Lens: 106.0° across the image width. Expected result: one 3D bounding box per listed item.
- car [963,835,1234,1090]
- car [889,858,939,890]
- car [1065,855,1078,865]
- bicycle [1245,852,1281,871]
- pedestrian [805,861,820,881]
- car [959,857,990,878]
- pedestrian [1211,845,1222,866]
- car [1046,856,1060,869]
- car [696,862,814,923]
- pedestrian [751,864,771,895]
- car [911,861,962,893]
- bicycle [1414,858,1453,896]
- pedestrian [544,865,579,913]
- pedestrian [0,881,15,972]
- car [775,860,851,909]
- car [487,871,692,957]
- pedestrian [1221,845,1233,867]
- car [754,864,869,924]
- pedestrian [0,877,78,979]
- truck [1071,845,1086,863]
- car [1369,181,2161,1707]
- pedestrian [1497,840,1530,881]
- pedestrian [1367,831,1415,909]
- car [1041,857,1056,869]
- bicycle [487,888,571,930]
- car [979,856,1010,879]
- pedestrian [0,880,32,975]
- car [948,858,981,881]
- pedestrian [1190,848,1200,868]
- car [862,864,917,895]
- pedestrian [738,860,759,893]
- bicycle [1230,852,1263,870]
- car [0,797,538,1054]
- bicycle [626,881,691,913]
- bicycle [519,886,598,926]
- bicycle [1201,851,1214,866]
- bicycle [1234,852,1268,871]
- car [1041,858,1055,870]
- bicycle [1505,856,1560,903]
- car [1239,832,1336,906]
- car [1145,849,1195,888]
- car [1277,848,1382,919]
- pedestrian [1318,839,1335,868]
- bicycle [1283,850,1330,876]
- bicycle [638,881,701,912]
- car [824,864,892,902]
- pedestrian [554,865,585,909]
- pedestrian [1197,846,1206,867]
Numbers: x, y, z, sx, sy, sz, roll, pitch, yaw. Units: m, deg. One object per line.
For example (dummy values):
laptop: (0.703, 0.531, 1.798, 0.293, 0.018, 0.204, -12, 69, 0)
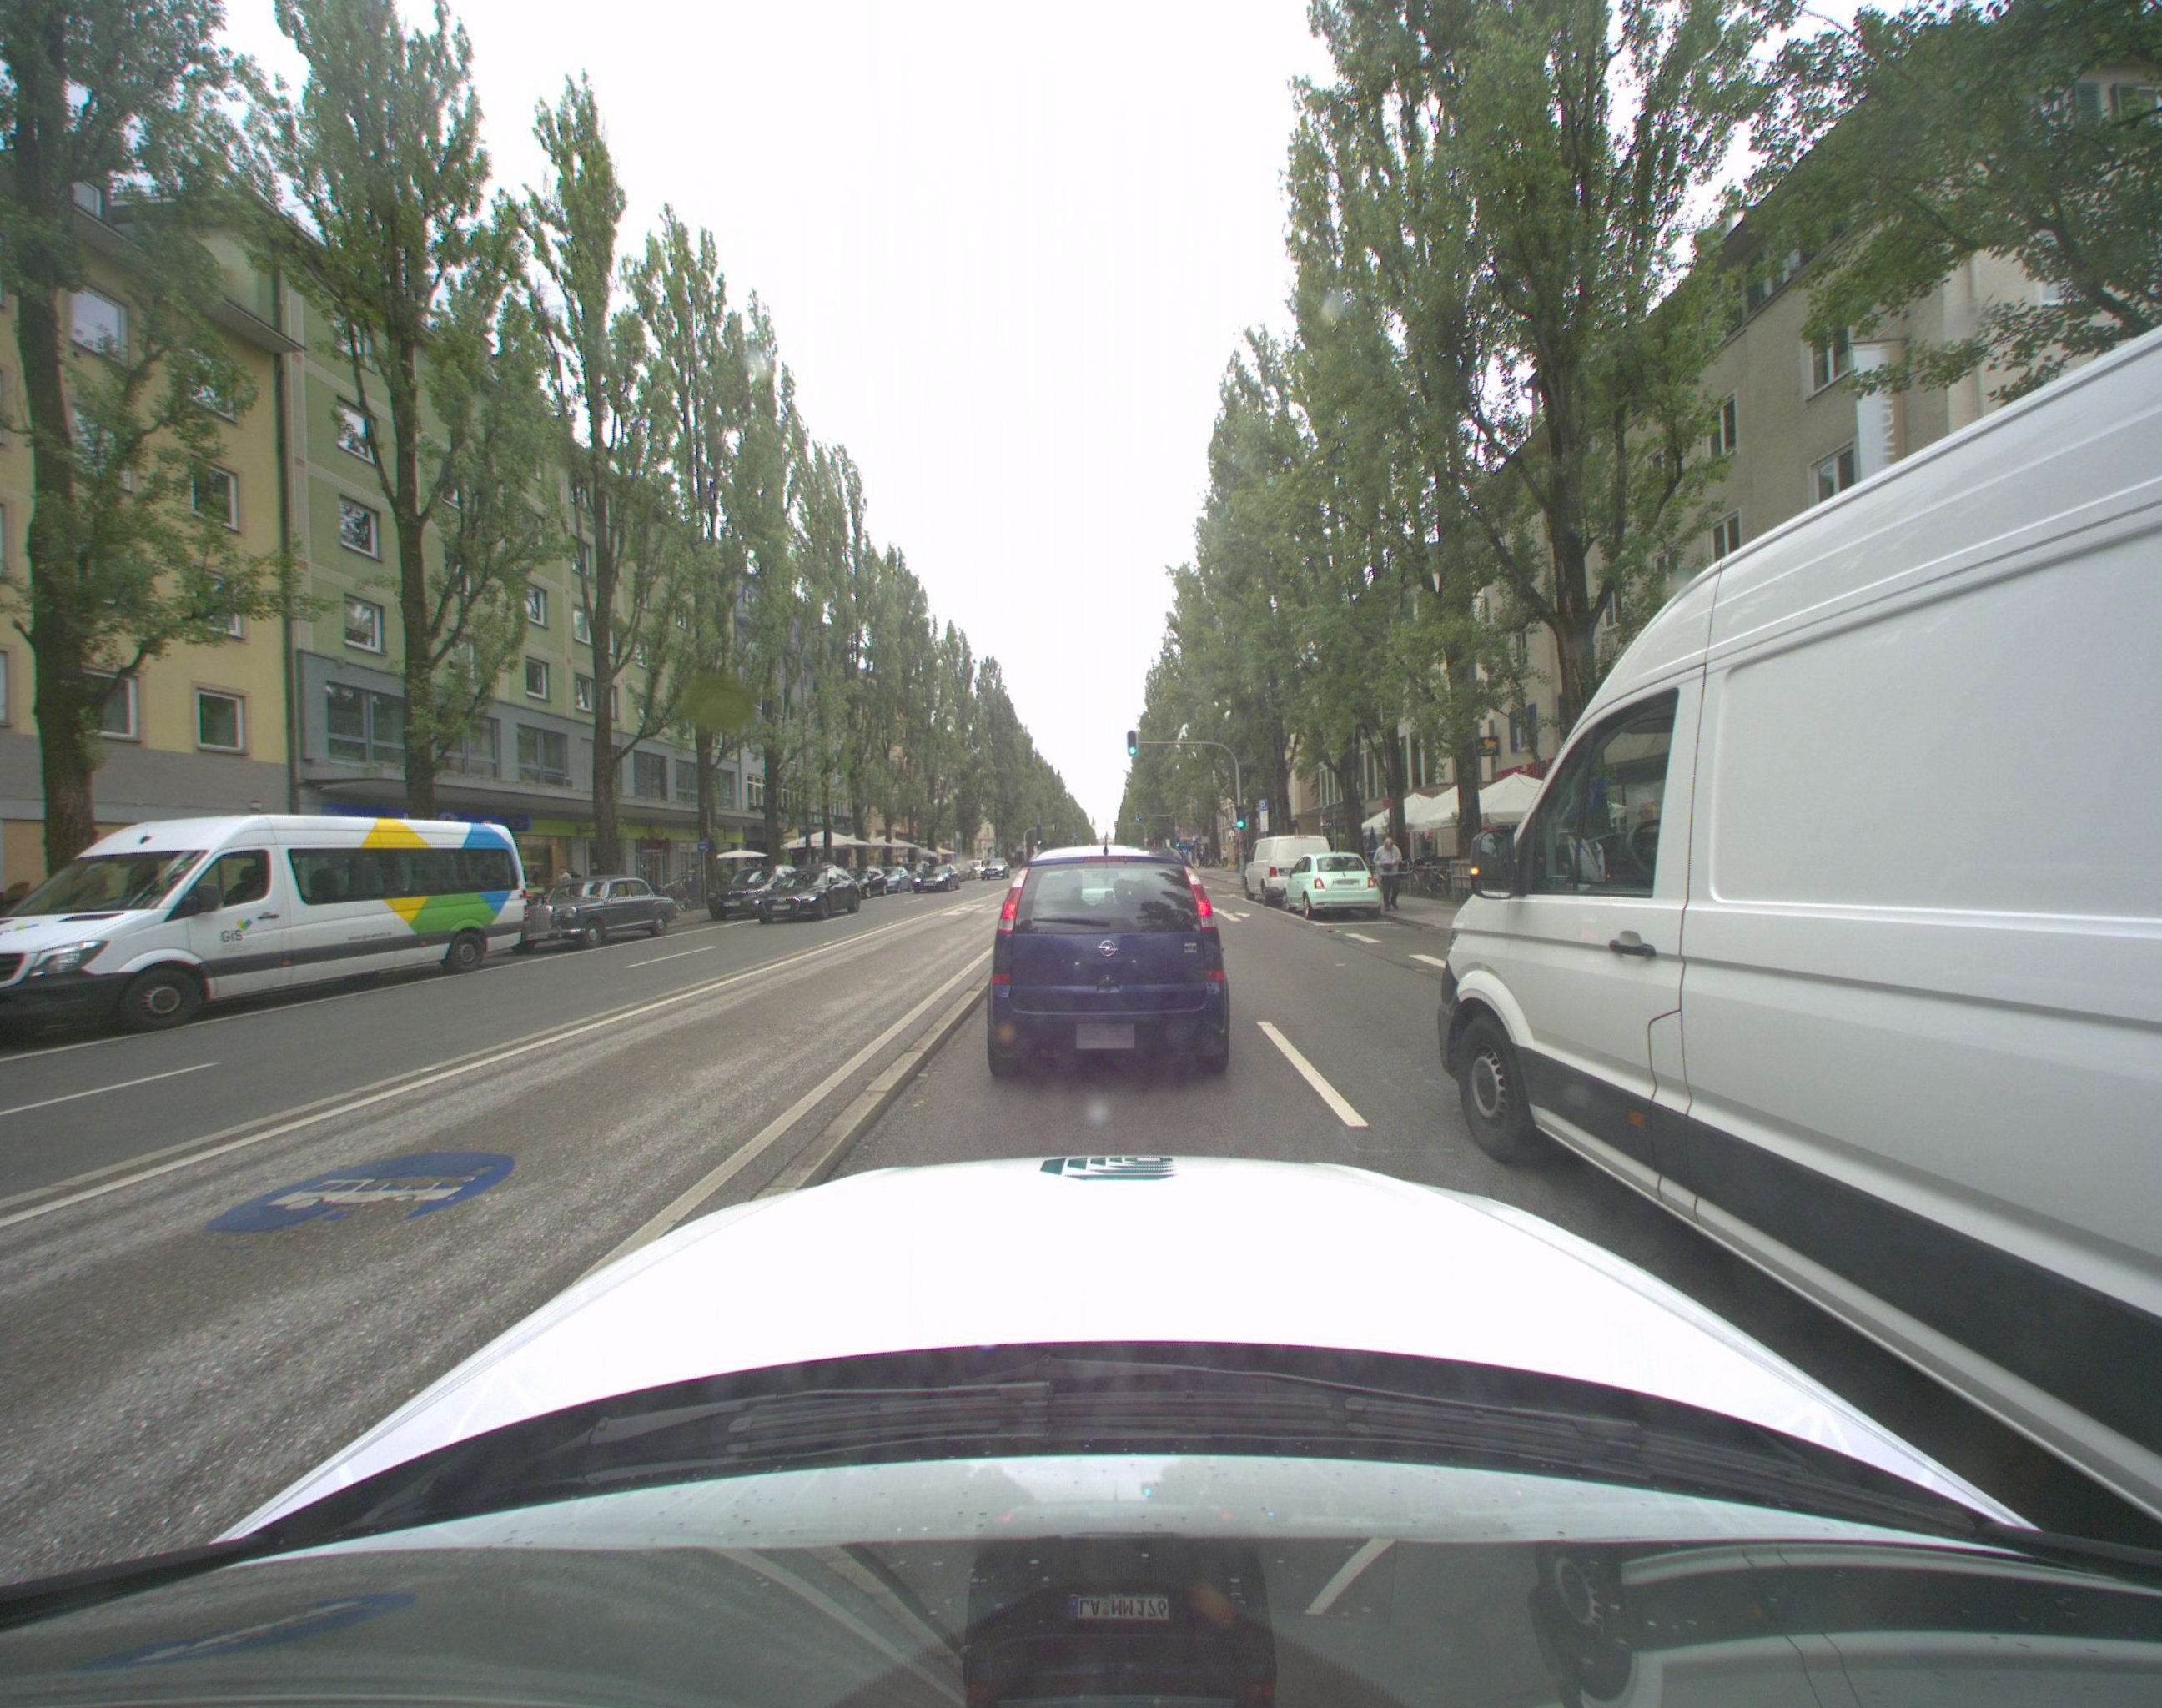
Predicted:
car: (0.179, 0.679, 7.114, 1.665, 1.568, 4.002, -1, 0, 2)
car: (-10.013, 1.162, 49.048, 1.859, 1.665, 4.402, -4, 0, 2)
car: (-1.416, 0.969, 124.978, 1.728, 1.465, 3.366, -2, 0, 2)
bicycle: (12.134, 0.498, 54.257, 2.220, 1.204, 0.626, -3, 0, -1)
pedestrian: (-18.639, 1.189, 56.489, 0.763, 1.410, 0.799, 0, -1, -3)
car: (-9.267, 1.165, 71.142, 1.859, 1.665, 4.122, -4, 0, 2)
pedestrian: (11.566, 0.134, 69.566, 0.636, 1.827, 0.885, 0, -1, -8)
car: (-4.578, 1.347, 132.018, 1.986, 2.013, 4.001, -2, 0, 1)
car: (-10.670, 1.194, 27.074, 1.859, 1.664, 4.613, -4, 0, 2)
pedestrian: (-17.748, 1.407, 45.133, 0.753, 1.686, 0.675, -3, -1, 2)
car: (-7.481, 1.155, 42.601, 1.739, 1.434, 4.131, -4, 0, 2)
bicycle: (9.849, 0.629, 22.806, 0.348, 0.996, 1.453, -4, -1, -2)
pedestrian: (-18.911, 1.279, 29.671, 0.753, 1.686, 0.675, -3, -1, 2)
pedestrian: (-20.581, 1.372, 15.142, 0.691, 1.700, 0.731, -3, 0, 23)
car: (-10.643, 1.174, 32.598, 1.704, 1.721, 3.920, -4, 0, -1)
car: (-11.095, 1.265, 18.841, 1.859, 1.552, 4.416, -4, 0, 2)
pedestrian: (12.489, 0.155, 69.785, 0.719, 1.827, 0.885, 0, -1, -8)
car: (-8.018, 1.128, 24.692, 1.691, 1.462, 4.714, -4, 0, 2)
pedestrian: (-18.385, 1.274, 14.201, 0.753, 1.686, 0.786, -3, 0, 4)
truck: (-0.477, -0.017, 154.310, 2.374, 3.346, 7.113, -2, 0, 2)
car: (2.714, 0.199, 1.662, 2.055, 2.492, 6.733, -1, 0, 2)
pedestrian: (14.357, 0.213, 27.020, 0.636, 1.324, 0.800, -2, 0, 1)
pedestrian: (7.338, 0.373, 19.326, 0.823, 1.773, 0.872, -2, 0, 6)
car: (-4.769, 1.309, 119.125, 1.859, 1.665, 4.122, -2, 0, 2)
bicycle: (-15.276, 1.522, 22.546, 1.860, 1.095, 0.720, 0, 0, 4)
car: (-6.724, 1.049, 63.850, 1.764, 1.635, 4.456, -3, 0, 1)
pedestrian: (-19.890, 1.349, 14.856, 0.691, 1.700, 0.731, -3, 0, 23)
car: (-9.365, 1.195, 65.880, 1.859, 1.665, 4.122, -4, 0, 2)
pedestrian: (10.318, 0.343, 73.900, 0.636, 1.827, 0.885, 0, -1, -8)
car: (-10.127, 1.313, 43.304, 1.727, 1.425, 4.145, -4, 0, 2)
pedestrian: (-17.841, 1.204, 43.686, 0.753, 1.686, 0.675, -3, -1, 2)
bicycle: (11.916, 0.523, 58.556, 2.220, 1.204, 0.626, -3, 0, -1)
car: (-11.305, 0.765, 11.728, 1.998, 2.567, 6.915, -4, 0, 2)
bicycle: (-15.172, 1.549, 29.281, 1.943, 1.095, 0.718, 0, 0, -5)
bicycle: (-15.264, 1.518, 23.810, 1.860, 1.095, 0.720, 0, 0, 4)
bicycle: (11.740, 0.428, 75.648, 0.769, 1.349, 2.450, -2, 0, 1)
bicycle: (11.896, 0.516, 57.061, 2.220, 1.204, 0.626, -3, 0, -1)
car: (-5.082, 1.507, 125.942, 1.859, 1.665, 4.122, -2, 0, 2)
bicycle: (10.288, 0.569, 18.591, 0.348, 0.996, 1.453, -4, -1, -2)
car: (6.048, 0.398, 24.387, 1.781, 1.946, 4.732, -2, 0, 2)
car: (3.853, 0.601, 35.920, 1.889, 1.622, 4.002, -1, 0, 2)
car: (5.783, 0.648, 19.310, 1.535, 1.492, 3.525, -1, 0, 2)
pedestrian: (14.678, -0.015, 48.748, 0.671, 1.686, 0.758, -3, -1, -3)
bicycle: (11.692, 0.456, 42.207, 2.220, 1.204, 0.626, -3, 0, -1)
bicycle: (-15.207, 1.550, 30.113, 1.943, 1.095, 0.718, 0, 0, -5)
car: (-10.368, 1.321, 38.256, 1.792, 1.488, 4.352, -4, 0, 2)
pedestrian: (-20.248, 1.313, 32.257, 0.670, 1.686, 0.759, -3, -1, 3)
pedestrian: (10.978, 0.224, 74.164, 0.636, 1.827, 0.885, 0, -1, -8)
